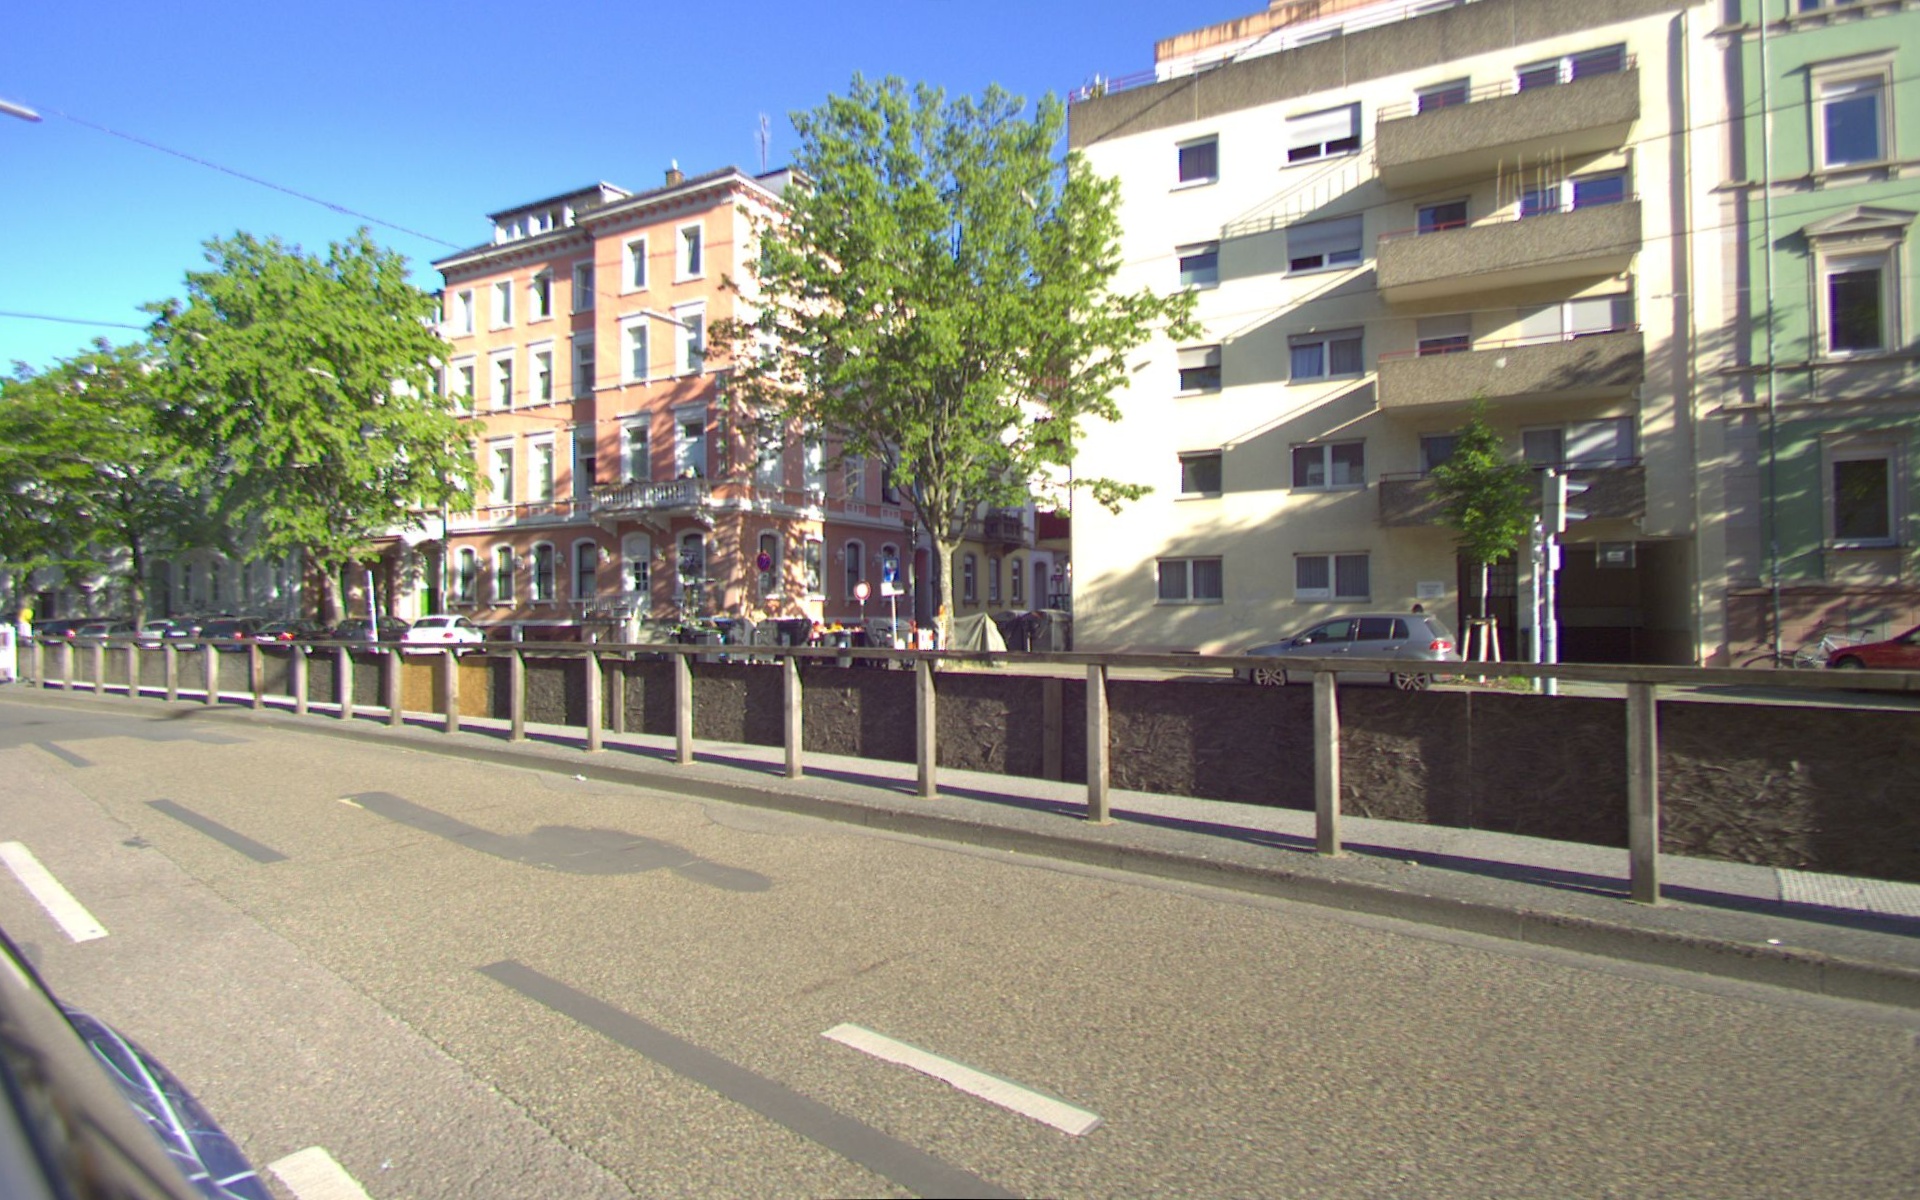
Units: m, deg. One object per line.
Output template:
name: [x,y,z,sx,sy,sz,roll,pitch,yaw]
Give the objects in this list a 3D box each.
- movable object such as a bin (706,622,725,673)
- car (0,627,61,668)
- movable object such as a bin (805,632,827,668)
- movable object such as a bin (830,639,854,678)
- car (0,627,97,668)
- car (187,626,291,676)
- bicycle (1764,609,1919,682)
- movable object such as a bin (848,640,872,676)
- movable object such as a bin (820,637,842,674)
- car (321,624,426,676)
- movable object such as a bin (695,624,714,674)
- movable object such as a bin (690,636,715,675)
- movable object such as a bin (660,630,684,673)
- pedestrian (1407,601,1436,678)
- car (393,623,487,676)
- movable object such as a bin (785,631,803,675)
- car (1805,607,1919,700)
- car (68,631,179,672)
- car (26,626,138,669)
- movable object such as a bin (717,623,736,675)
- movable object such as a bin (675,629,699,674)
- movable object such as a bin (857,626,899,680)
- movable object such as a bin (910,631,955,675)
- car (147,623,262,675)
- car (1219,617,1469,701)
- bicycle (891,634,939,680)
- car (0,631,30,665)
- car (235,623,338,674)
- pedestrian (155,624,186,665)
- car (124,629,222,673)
movable object such as a bin: [-7.013,1.347,29.001,0.385,1.437,0.376,-2,-2,40]
car: [-47.640,2.393,50.563,1.760,1.812,4.203,-1,1,-1]
movable object such as a bin: [-4.509,1.572,31.715,0.551,1.107,0.376,-1,-1,34]
movable object such as a bin: [-3.404,1.676,29.212,0.551,1.105,0.376,0,-1,34]
car: [-42.415,2.147,46.803,1.747,1.666,3.872,-1,0,-2]
car: [-27.902,1.919,39.315,1.609,1.629,3.993,-2,1,-8]
bicycle: [18.135,0.904,20.319,2.994,1.409,0.713,-1,-1,26]
movable object such as a bin: [-2.948,1.705,29.841,0.551,1.041,0.443,0,-1,34]
movable object such as a bin: [-3.917,1.684,30.799,0.551,1.105,0.376,-1,-1,34]
car: [-20.895,1.725,36.241,1.664,1.519,3.926,-2,1,-4]
movable object such as a bin: [-7.382,1.410,29.194,0.387,1.437,0.376,-2,-2,40]
movable object such as a bin: [-7.199,1.541,28.249,0.639,1.076,0.376,-2,-2,40]
movable object such as a bin: [-8.271,1.467,29.037,0.639,1.212,0.376,-2,-2,40]
pedestrian: [10.210,0.863,22.386,0.489,1.684,0.507,-2,-2,33]
car: [-17.908,1.658,35.031,1.707,1.533,3.925,-2,1,-9]
movable object such as a bin: [-5.071,1.607,30.979,0.386,1.322,0.376,-1,-1,34]
car: [16.268,0.868,16.009,1.846,1.436,4.518,-1,0,-3]
car: [-36.363,2.198,44.127,1.745,1.496,3.824,-1,1,-2]
car: [-39.320,2.102,45.439,1.748,1.666,3.872,-1,0,-1]
movable object such as a bin: [-6.642,1.386,28.801,0.387,1.437,0.376,-2,-2,40]
movable object such as a bin: [-7.729,1.452,28.650,0.639,1.251,0.376,-2,-2,40]
movable object such as a bin: [-2.324,1.477,28.647,1.144,1.469,0.422,0,-1,34]
movable object such as a bin: [-0.723,1.380,26.501,1.144,1.135,0.422,-1,-1,34]
car: [-30.719,1.944,41.301,1.682,1.735,4.291,-1,2,-4]
car: [7.389,1.090,19.605,4.278,1.421,1.693,-1,0,32]
bicycle: [-1.142,1.434,25.739,1.404,1.125,0.261,-2,-2,40]
car: [-50.458,2.570,51.887,1.718,1.649,4.203,-3,1,-1]
car: [-25.311,1.777,38.204,1.609,1.629,3.993,-2,1,-8]
pedestrian: [-35.177,1.982,45.096,0.801,1.769,0.762,-1,-2,17]
car: [-33.306,2.117,42.920,1.682,1.544,3.284,-2,2,-4]
